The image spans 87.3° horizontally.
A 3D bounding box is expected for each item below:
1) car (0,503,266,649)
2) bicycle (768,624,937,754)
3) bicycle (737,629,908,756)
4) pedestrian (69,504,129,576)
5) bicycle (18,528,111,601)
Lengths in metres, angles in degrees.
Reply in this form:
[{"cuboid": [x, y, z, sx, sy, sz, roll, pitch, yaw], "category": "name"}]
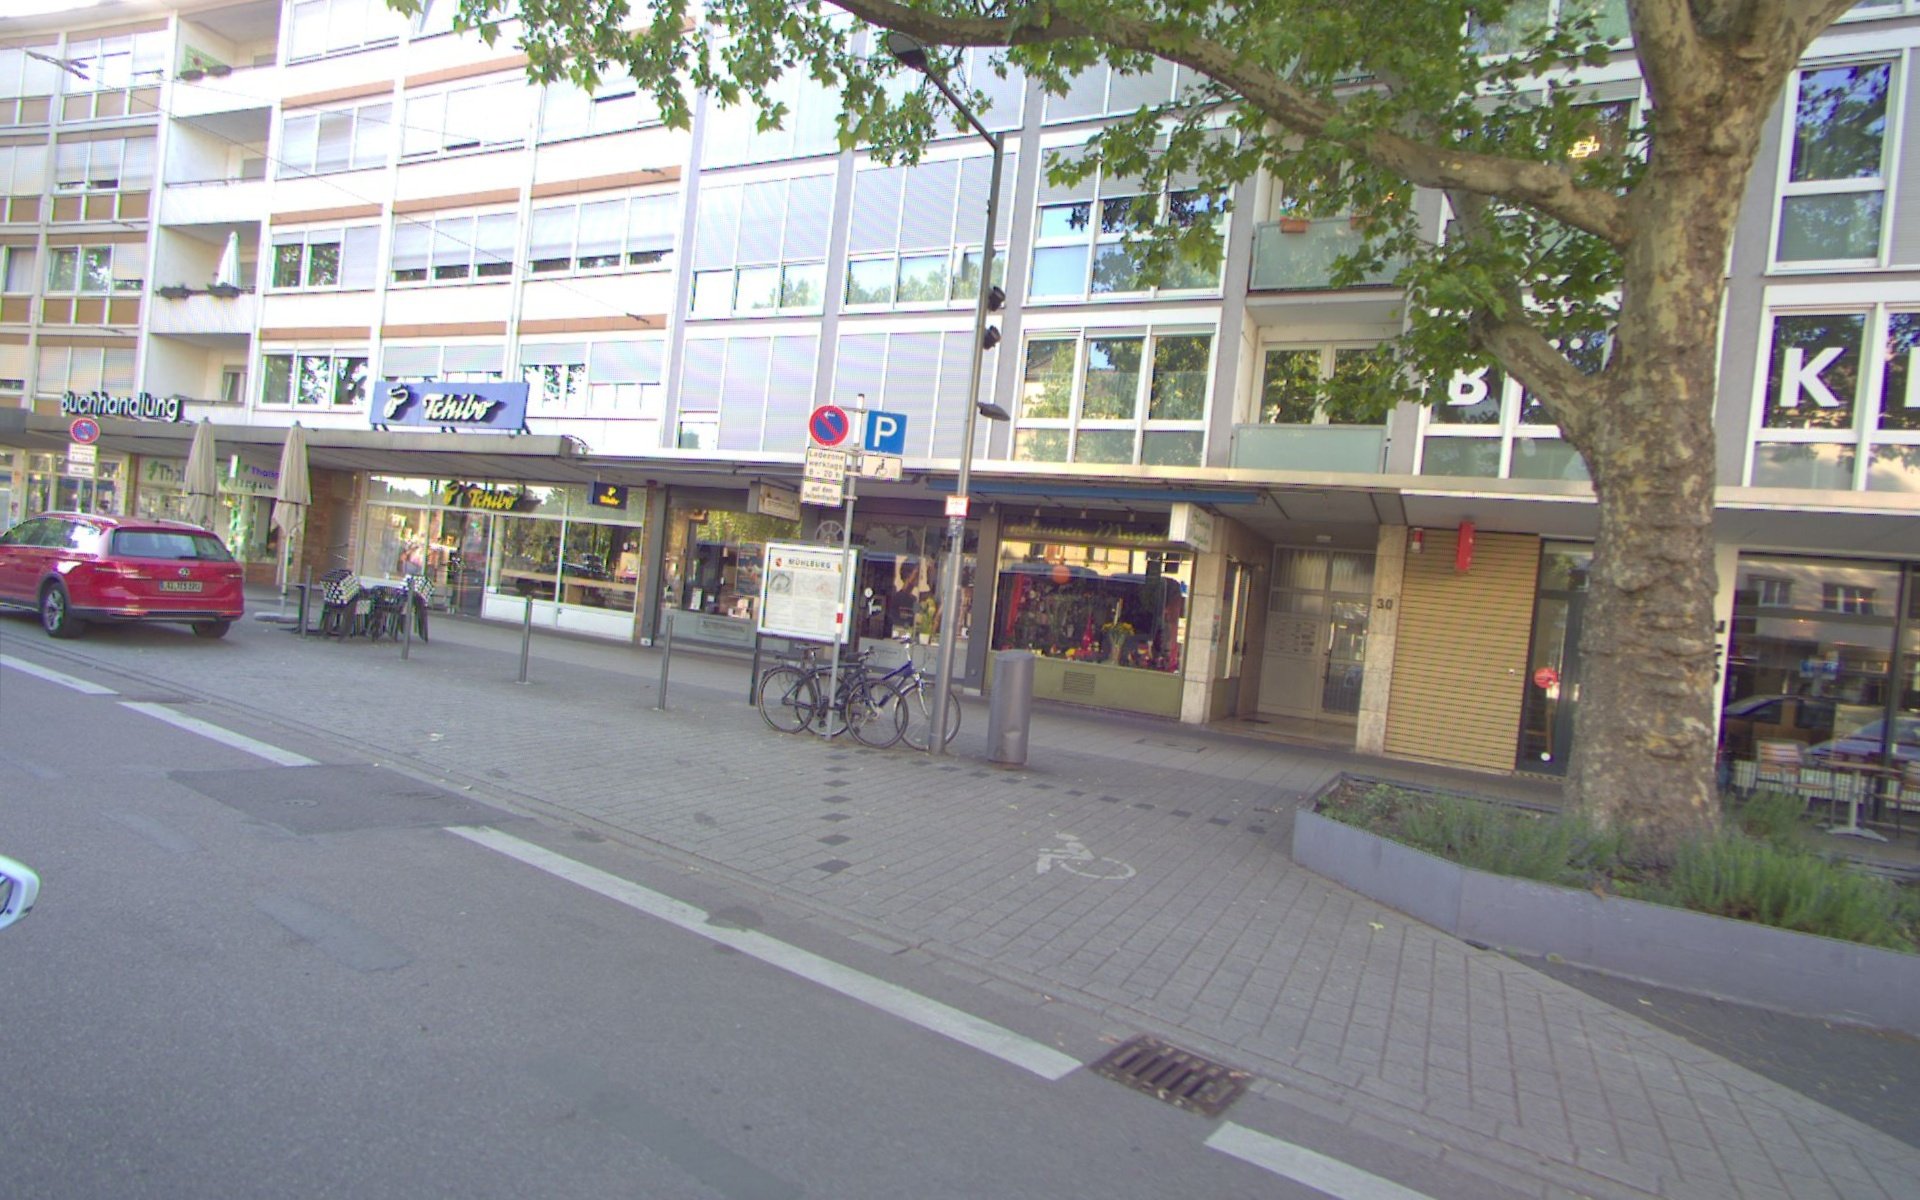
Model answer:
[{"cuboid": [-11.414, -0.379, 13.293, 4.488, 1.516, 1.780, 6, 2, 28], "category": "car"}, {"cuboid": [-1.123, 0.896, 10.411, 1.686, 1.116, 0.294, 6, 4, 17], "category": "bicycle"}, {"cuboid": [-1.407, 0.913, 10.204, 1.686, 1.055, 0.294, 6, 4, 17], "category": "bicycle"}, {"cuboid": [-20.222, -1.403, 23.621, 0.792, 1.571, 0.641, 6, 0, 18], "category": "pedestrian"}, {"cuboid": [-15.442, -0.616, 17.340, 1.631, 1.085, 0.512, 6, 2, 22], "category": "bicycle"}]
